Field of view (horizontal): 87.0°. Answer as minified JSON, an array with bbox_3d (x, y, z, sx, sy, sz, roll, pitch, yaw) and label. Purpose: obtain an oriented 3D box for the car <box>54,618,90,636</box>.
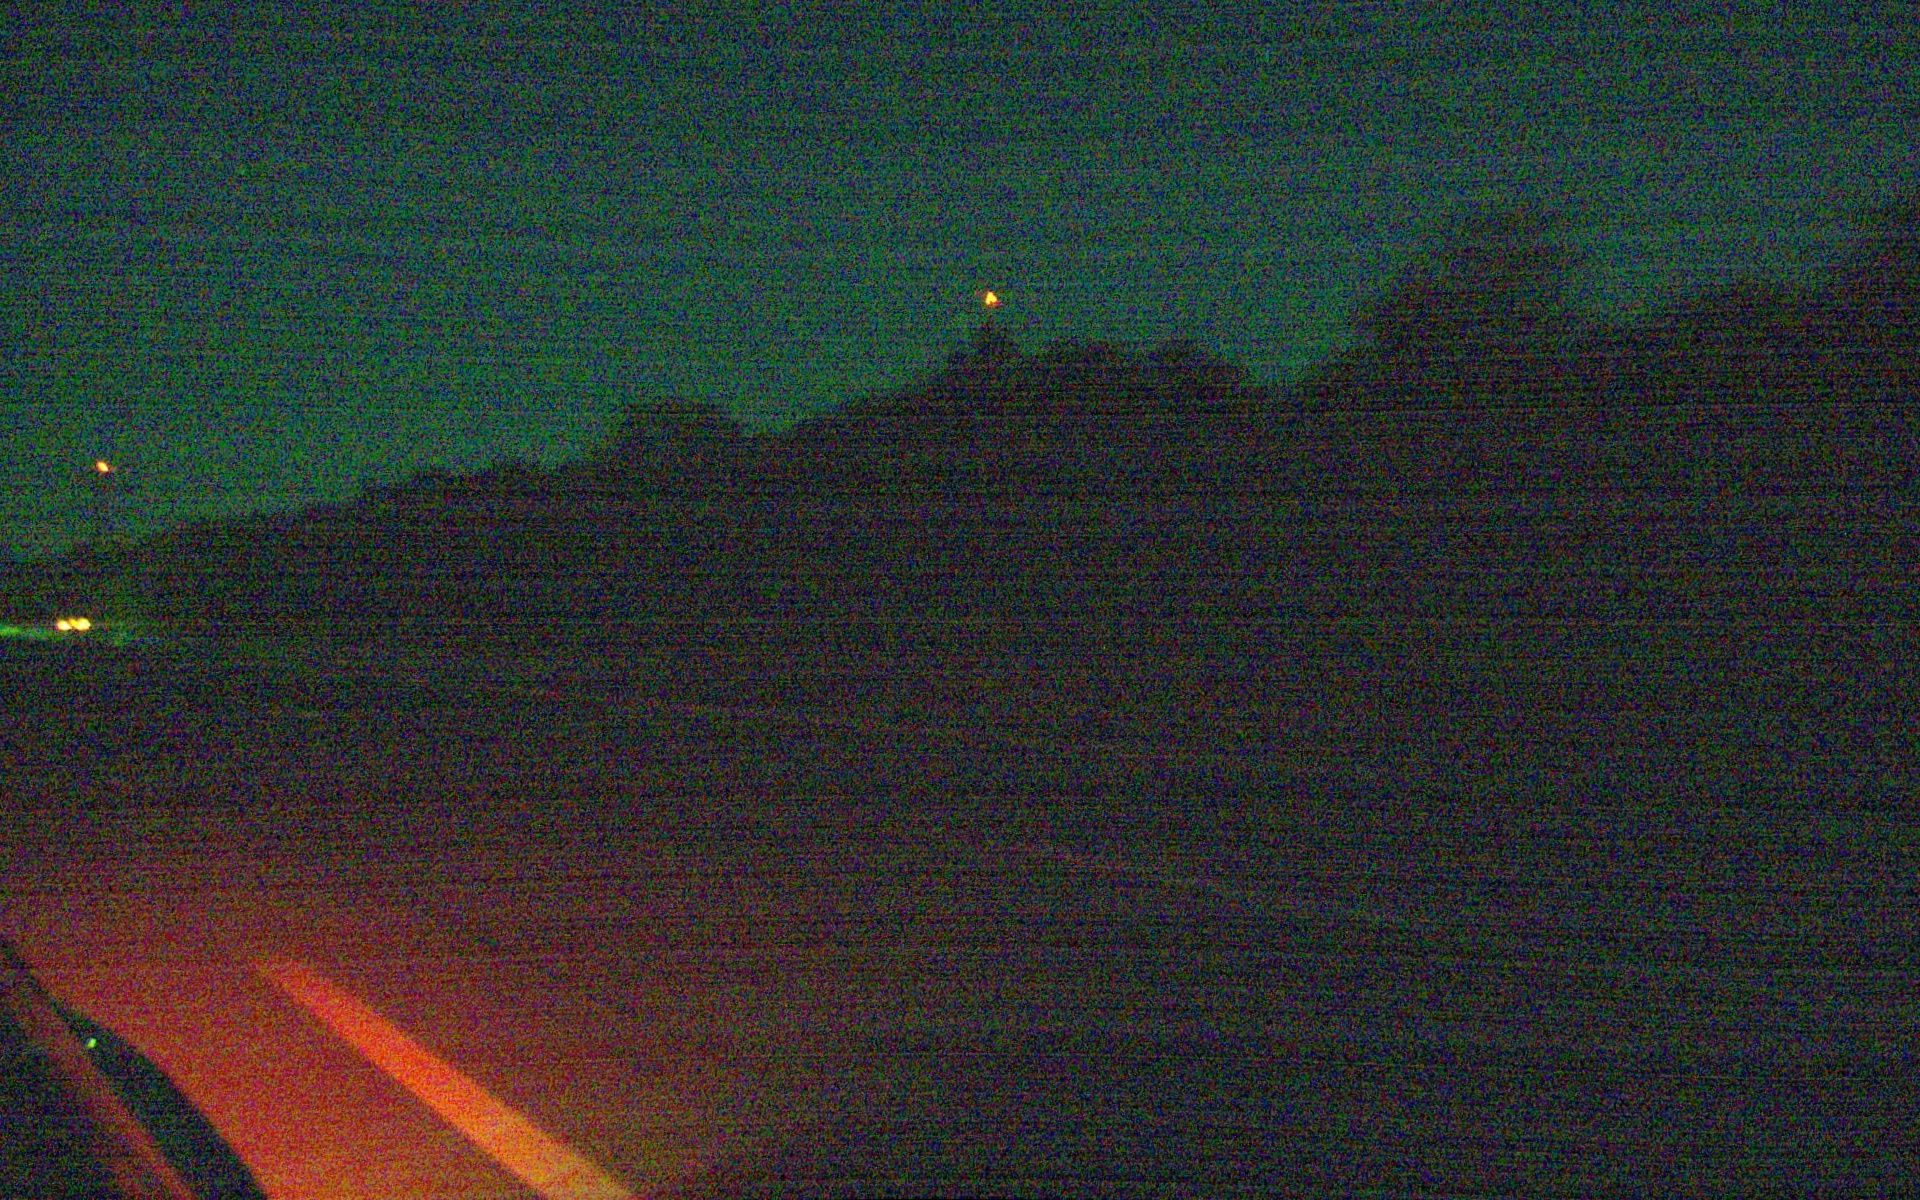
[{"bbox_3d":[-88.819,2.680,101.173,5.107,1.663,1.988,0,0,41],"label":"car"}]
